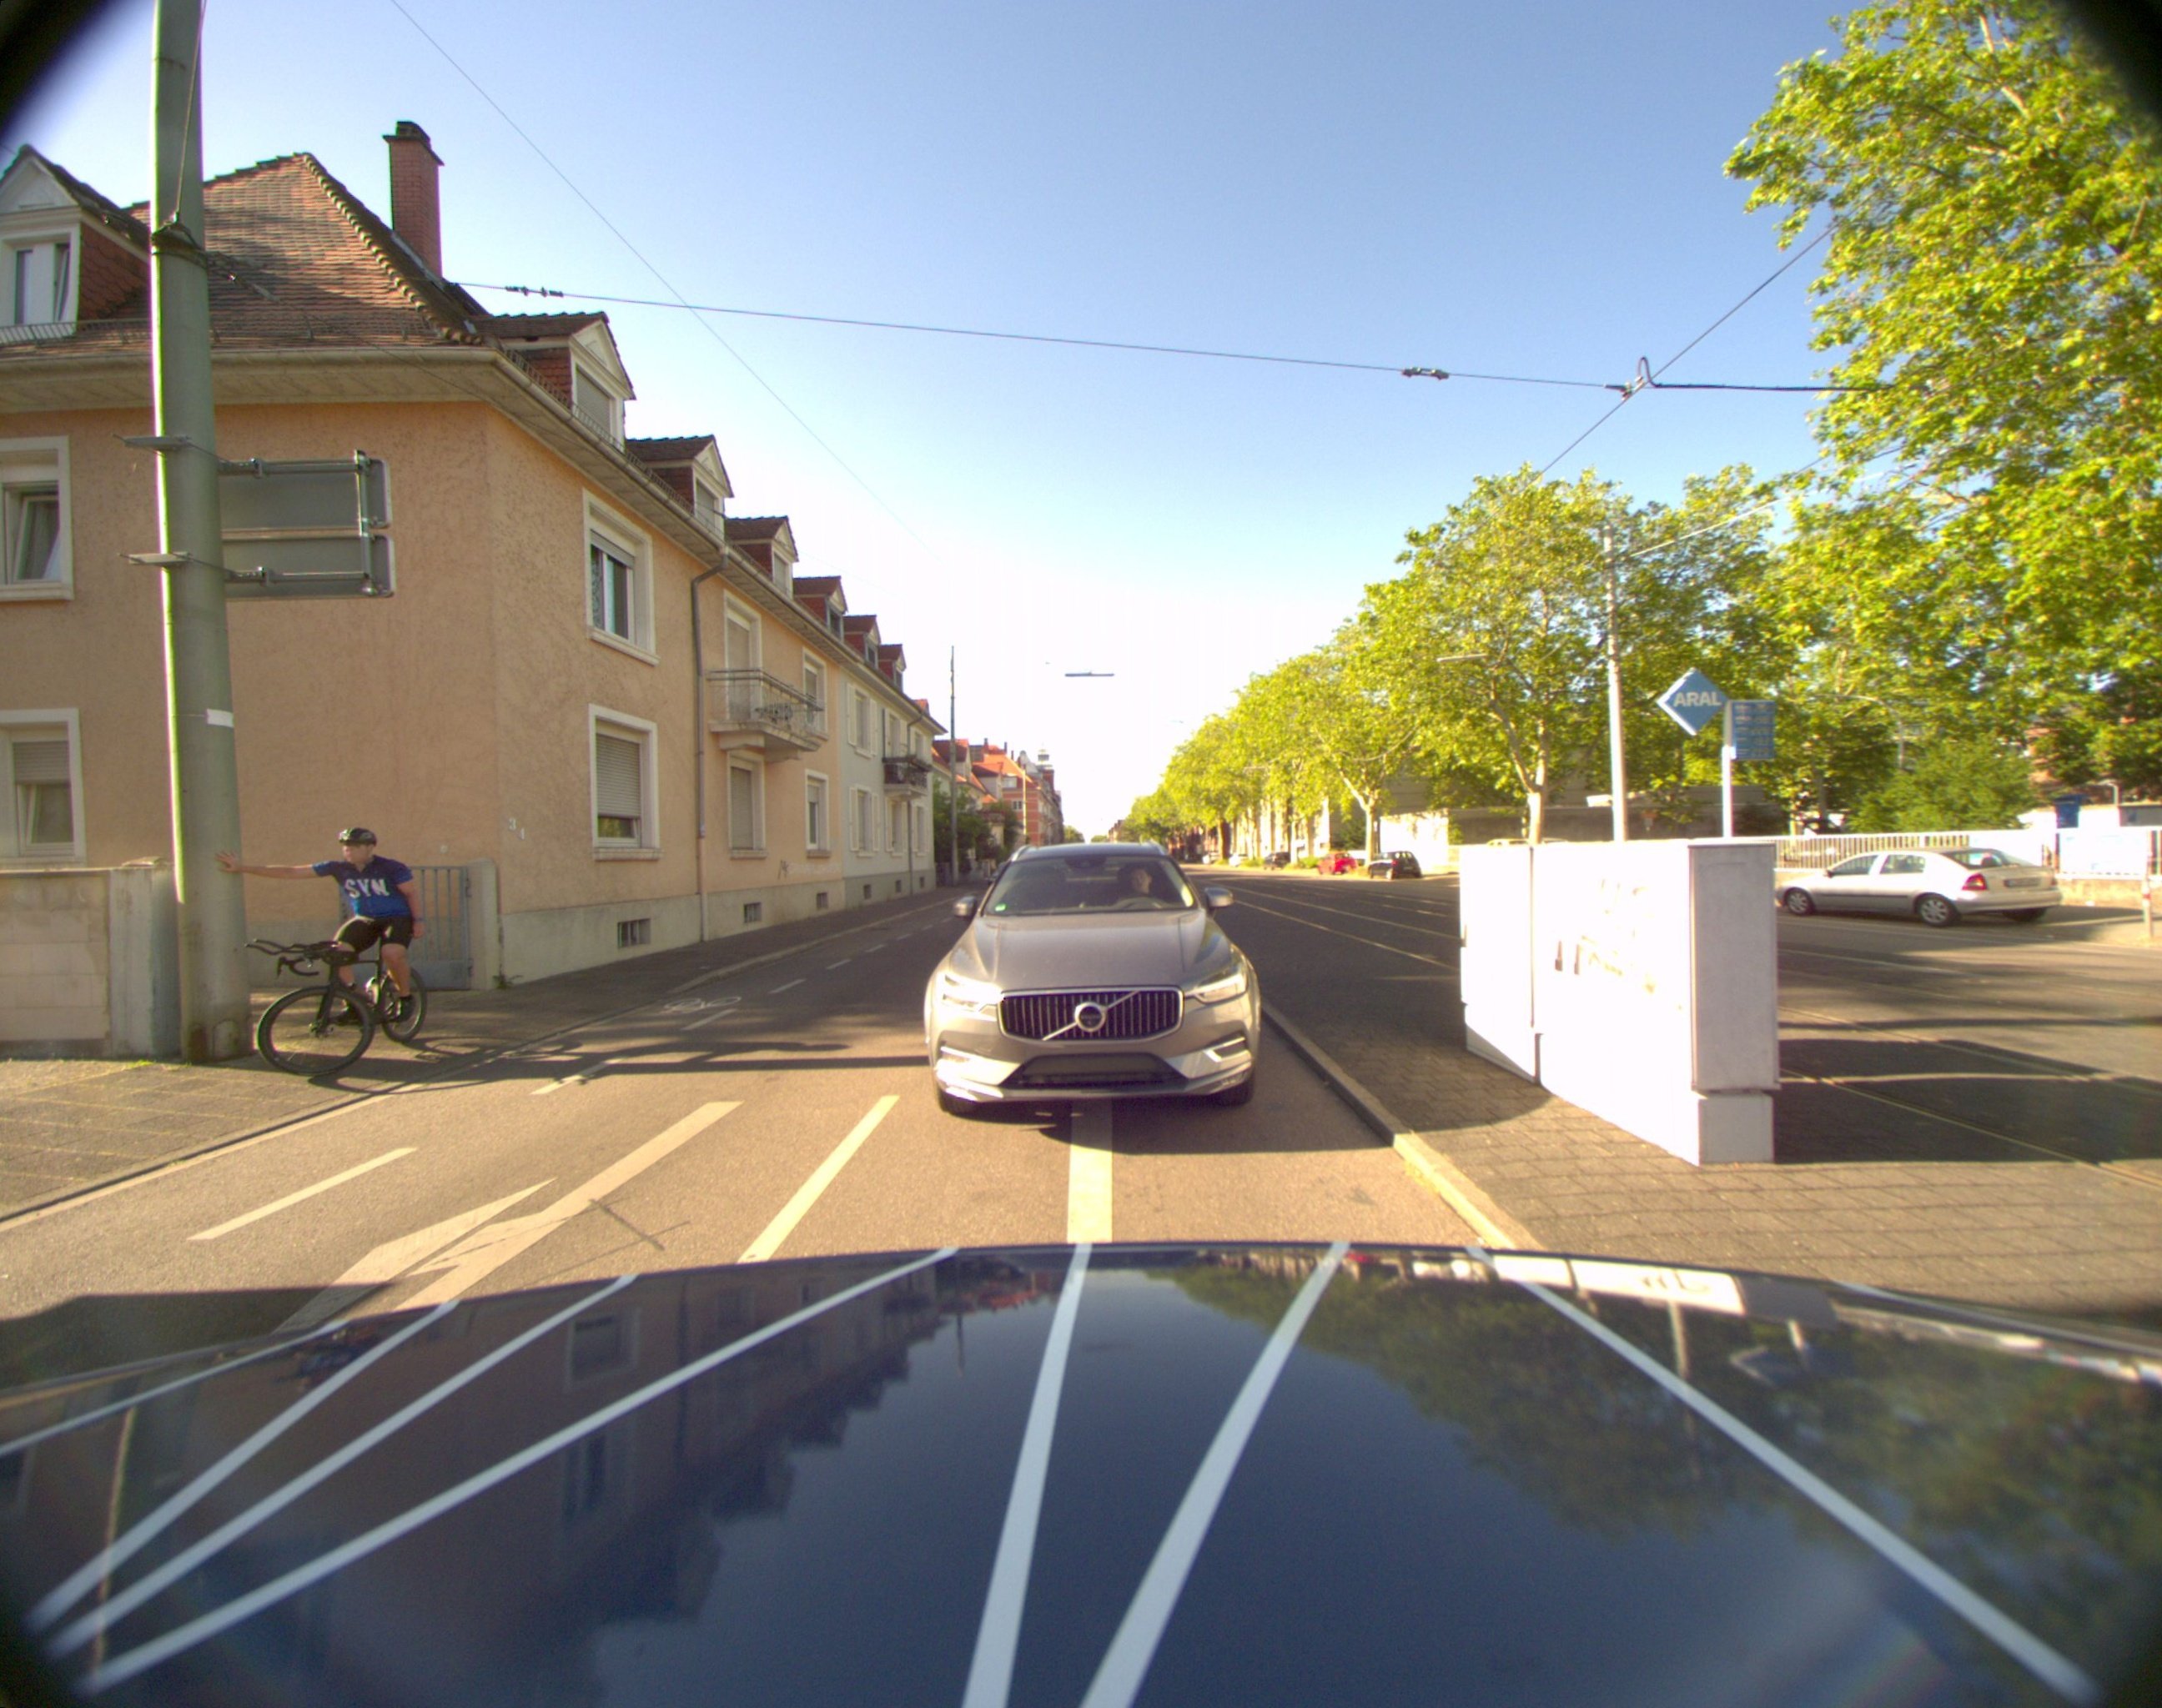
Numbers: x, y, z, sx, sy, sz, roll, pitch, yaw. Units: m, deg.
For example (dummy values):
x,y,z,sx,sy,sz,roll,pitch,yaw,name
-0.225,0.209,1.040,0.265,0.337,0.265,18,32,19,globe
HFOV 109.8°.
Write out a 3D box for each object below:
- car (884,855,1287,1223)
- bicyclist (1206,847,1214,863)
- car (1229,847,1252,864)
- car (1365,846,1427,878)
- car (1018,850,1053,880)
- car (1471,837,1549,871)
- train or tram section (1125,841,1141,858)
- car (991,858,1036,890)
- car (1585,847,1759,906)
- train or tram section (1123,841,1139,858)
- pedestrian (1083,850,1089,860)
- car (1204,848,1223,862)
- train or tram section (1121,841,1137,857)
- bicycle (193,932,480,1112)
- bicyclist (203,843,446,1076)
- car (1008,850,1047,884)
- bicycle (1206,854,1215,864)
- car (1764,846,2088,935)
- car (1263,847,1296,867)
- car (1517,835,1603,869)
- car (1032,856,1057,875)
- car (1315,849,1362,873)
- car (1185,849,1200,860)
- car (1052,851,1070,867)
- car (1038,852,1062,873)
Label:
x,y,z,sx,sy,sz,roll,pitch,yaw,name
0.005,0.885,5.790,1.892,1.695,4.318,-1,0,-1,car
15.028,0.128,88.348,0.720,1.853,1.071,-1,1,0,bicyclist
17.498,0.113,83.545,1.845,1.664,4.098,-4,0,3,car
16.973,0.404,41.088,1.845,1.524,4.001,-4,0,4,car
-2.762,0.643,46.748,1.847,1.681,4.000,-1,0,0,car
21.755,-0.031,38.716,1.845,1.524,4.001,-4,0,4,car
10.712,-0.884,156.823,2.862,3.456,10.183,-1,0,1,train or tram section
-3.224,0.942,36.979,1.847,1.412,3.999,-1,0,-1,car
16.522,0.564,21.551,1.845,1.400,4.138,-4,0,4,car
10.964,-0.949,166.963,2.843,3.456,10.181,-2,1,1,train or tram section
1.058,0.227,148.536,1.104,2.002,1.242,-2,1,1,pedestrian
17.604,0.071,100.908,1.845,1.664,4.098,-4,0,3,car
11.068,-1.222,177.126,2.843,3.456,10.181,-2,1,0,train or tram section
-5.923,1.272,6.209,0.594,1.045,1.719,4,1,1,bicycle
-6.168,0.807,6.260,1.071,1.728,0.853,4,1,1,bicyclist
-2.909,0.680,42.281,1.847,1.742,4.144,-1,0,0,car
15.027,0.590,88.328,0.654,1.114,2.533,-1,0,1,bicycle
16.240,0.613,14.979,1.846,1.400,3.999,-4,0,-1,car
17.176,0.220,65.897,1.845,1.607,4.098,-4,0,3,car
24.049,-0.115,38.338,1.845,1.524,4.000,-4,0,2,car
-2.872,0.855,60.408,1.808,1.402,3.999,-1,0,-1,car
16.968,0.441,50.313,1.845,1.400,4.001,-4,0,3,car
18.379,-0.013,125.411,1.845,1.664,4.098,-4,0,3,car
-2.235,0.545,85.486,1.999,1.641,4.658,-1,0,-1,car
-2.668,0.689,65.772,1.847,1.681,4.000,-1,0,0,car
